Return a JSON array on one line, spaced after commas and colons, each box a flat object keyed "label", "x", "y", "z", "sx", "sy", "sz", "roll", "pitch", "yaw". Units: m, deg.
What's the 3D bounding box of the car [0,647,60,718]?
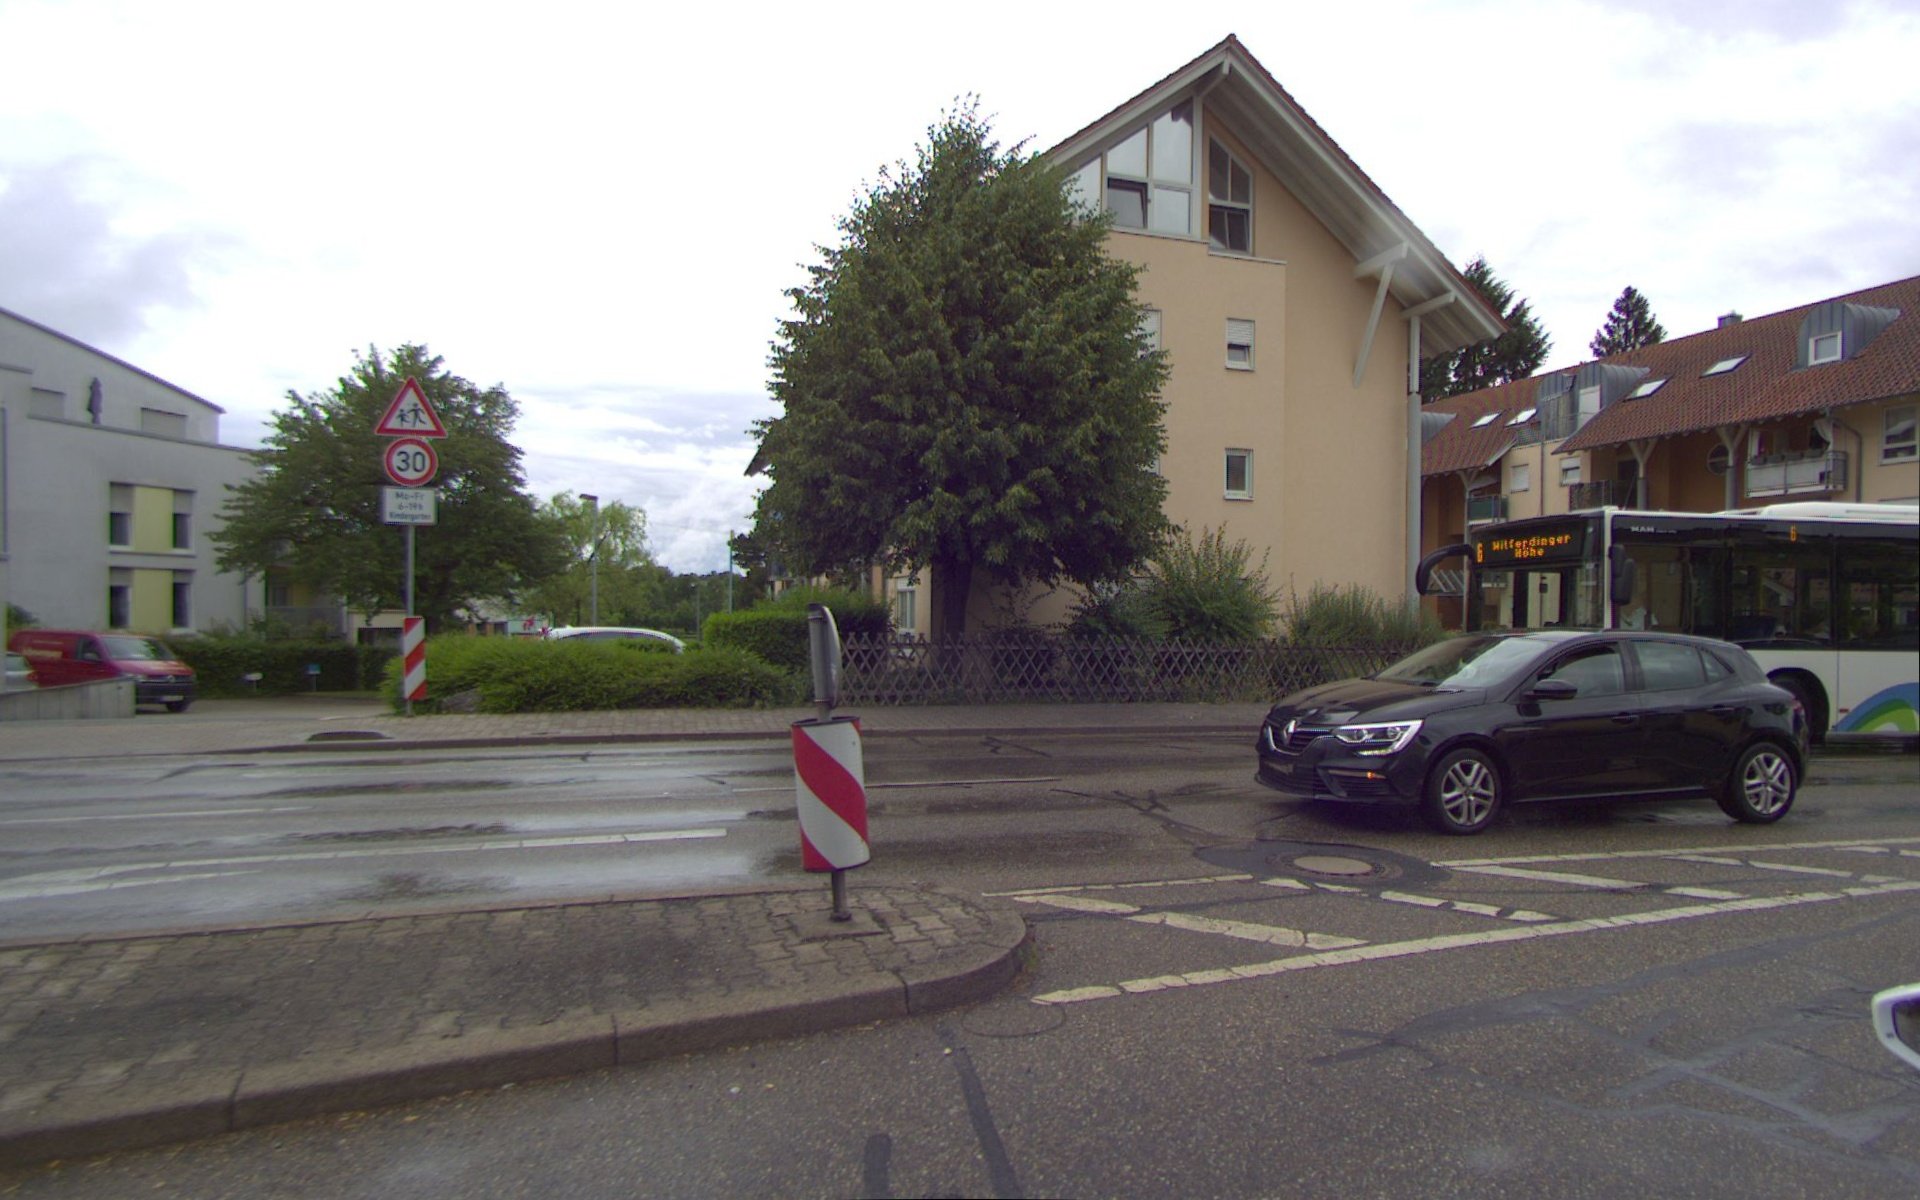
[{"label": "car", "x": -22.900, "y": 1.845, "z": 22.871, "sx": 3.758, "sy": 1.521, "sz": 1.862, "roll": 0, "pitch": -2, "yaw": 16}]

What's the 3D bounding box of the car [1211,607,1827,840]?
[{"label": "car", "x": 4.358, "y": 0.877, "z": 8.079, "sx": 4.103, "sy": 1.539, "sz": 1.952, "roll": 1, "pitch": -1, "yaw": -14}]

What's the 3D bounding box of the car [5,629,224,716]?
[{"label": "car", "x": -21.435, "y": 1.791, "z": 25.512, "sx": 4.561, "sy": 2.040, "sz": 2.036, "roll": 0, "pitch": -2, "yaw": 16}]

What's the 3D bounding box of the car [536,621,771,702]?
[{"label": "car", "x": -5.769, "y": 1.181, "z": 19.414, "sx": 4.128, "sy": 1.458, "sz": 1.819, "roll": 1, "pitch": -2, "yaw": -11}]

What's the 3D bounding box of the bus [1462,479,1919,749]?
[{"label": "bus", "x": 11.552, "y": 0.257, "z": 13.132, "sx": 9.032, "sy": 3.039, "sz": 2.553, "roll": 1, "pitch": -2, "yaw": -7}]

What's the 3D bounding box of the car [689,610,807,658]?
[{"label": "car", "x": -11.420, "y": 1.791, "z": 53.840, "sx": 5.923, "sy": 2.230, "sz": 2.843, "roll": 3, "pitch": -1, "yaw": -16}]
